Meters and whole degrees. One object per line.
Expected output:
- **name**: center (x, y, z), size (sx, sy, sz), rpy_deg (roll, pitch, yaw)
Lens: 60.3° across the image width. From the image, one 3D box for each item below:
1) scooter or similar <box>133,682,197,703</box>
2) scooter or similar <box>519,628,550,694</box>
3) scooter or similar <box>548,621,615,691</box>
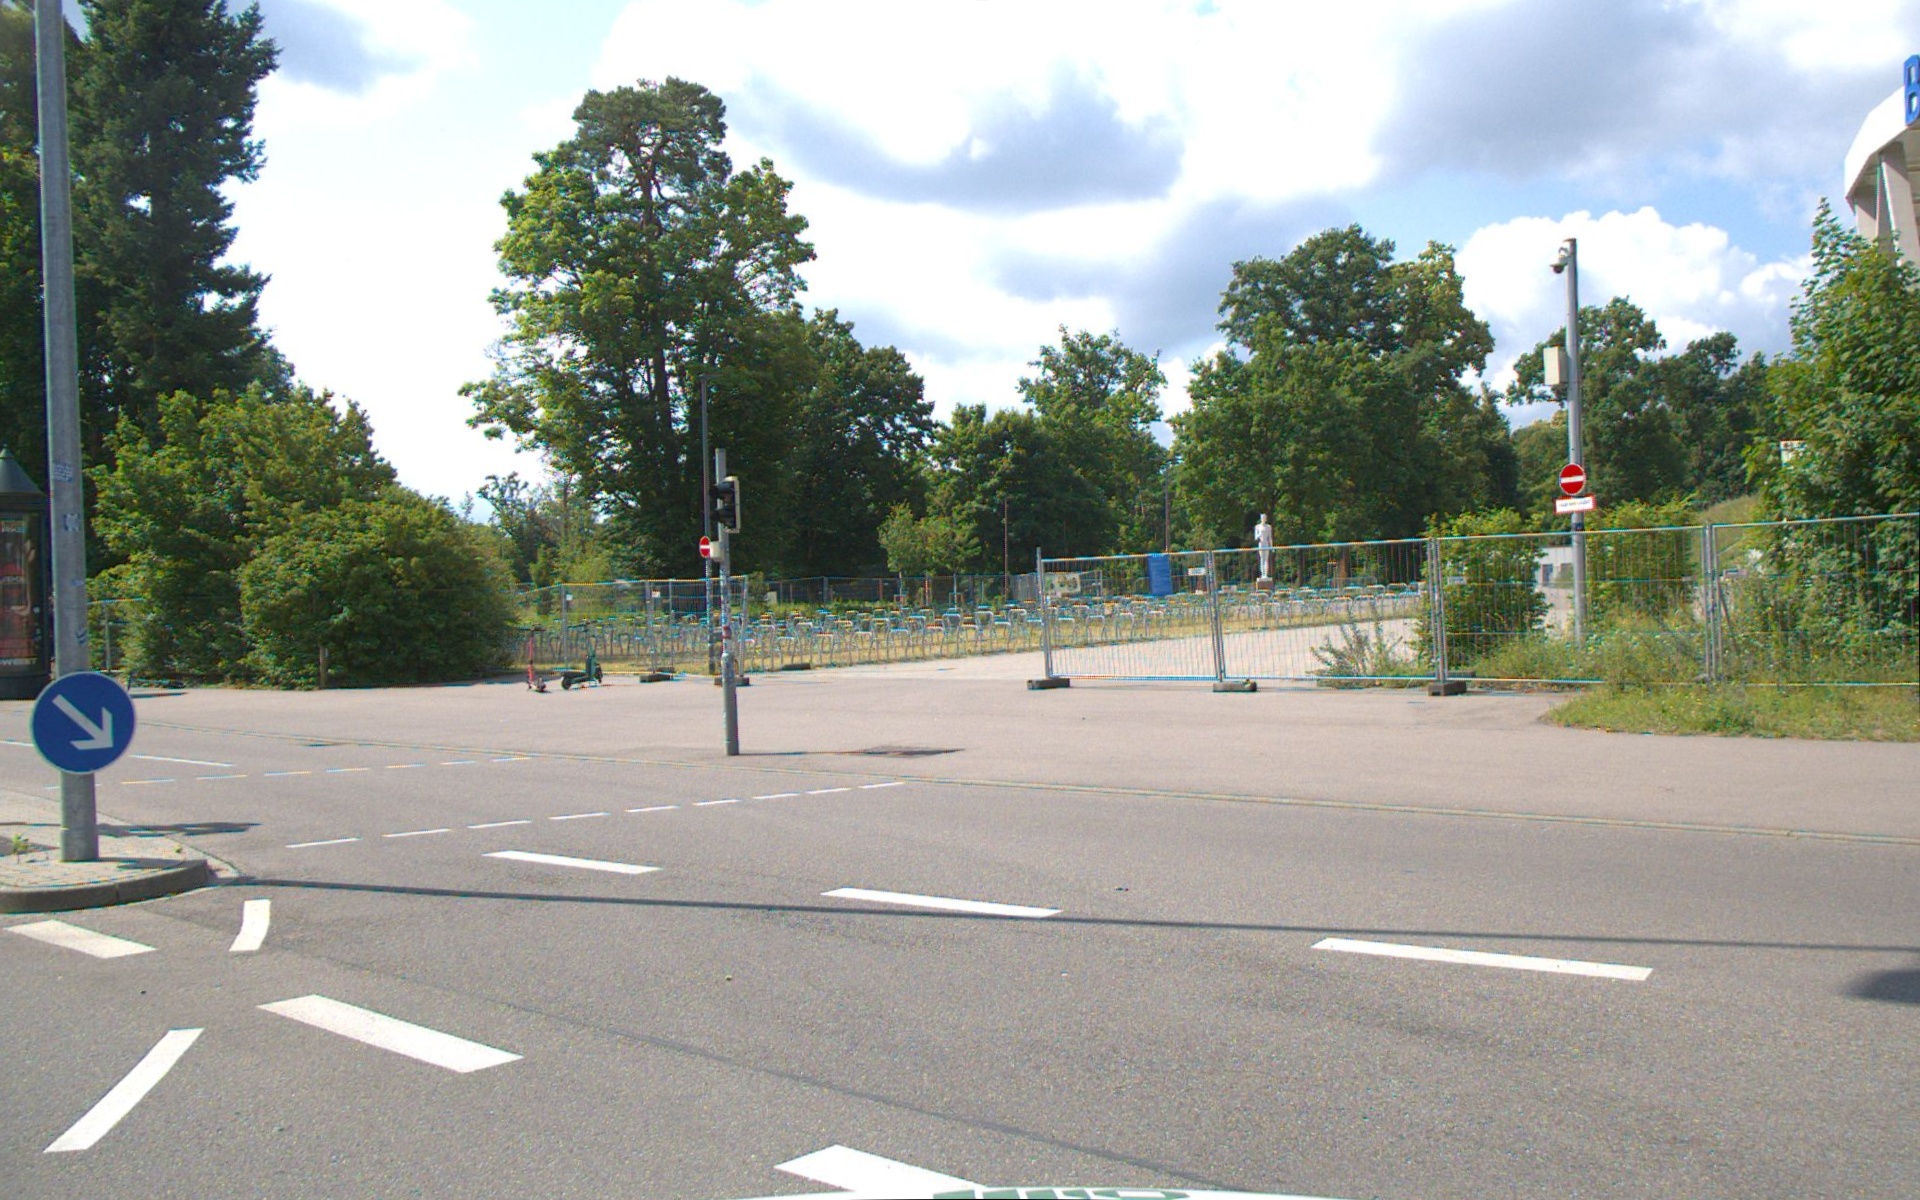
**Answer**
- **scooter or similar**: center (-18.729, 2.177, 38.961), size (1.446, 0.395, 0.851), rpy_deg (-6, -8, 40)
- **scooter or similar**: center (-8.152, 1.157, 31.678), size (0.400, 1.221, 1.303), rpy_deg (-3, 0, -20)
- **scooter or similar**: center (-7.393, 1.089, 32.349), size (0.399, 1.274, 1.307), rpy_deg (-2, 0, 35)
